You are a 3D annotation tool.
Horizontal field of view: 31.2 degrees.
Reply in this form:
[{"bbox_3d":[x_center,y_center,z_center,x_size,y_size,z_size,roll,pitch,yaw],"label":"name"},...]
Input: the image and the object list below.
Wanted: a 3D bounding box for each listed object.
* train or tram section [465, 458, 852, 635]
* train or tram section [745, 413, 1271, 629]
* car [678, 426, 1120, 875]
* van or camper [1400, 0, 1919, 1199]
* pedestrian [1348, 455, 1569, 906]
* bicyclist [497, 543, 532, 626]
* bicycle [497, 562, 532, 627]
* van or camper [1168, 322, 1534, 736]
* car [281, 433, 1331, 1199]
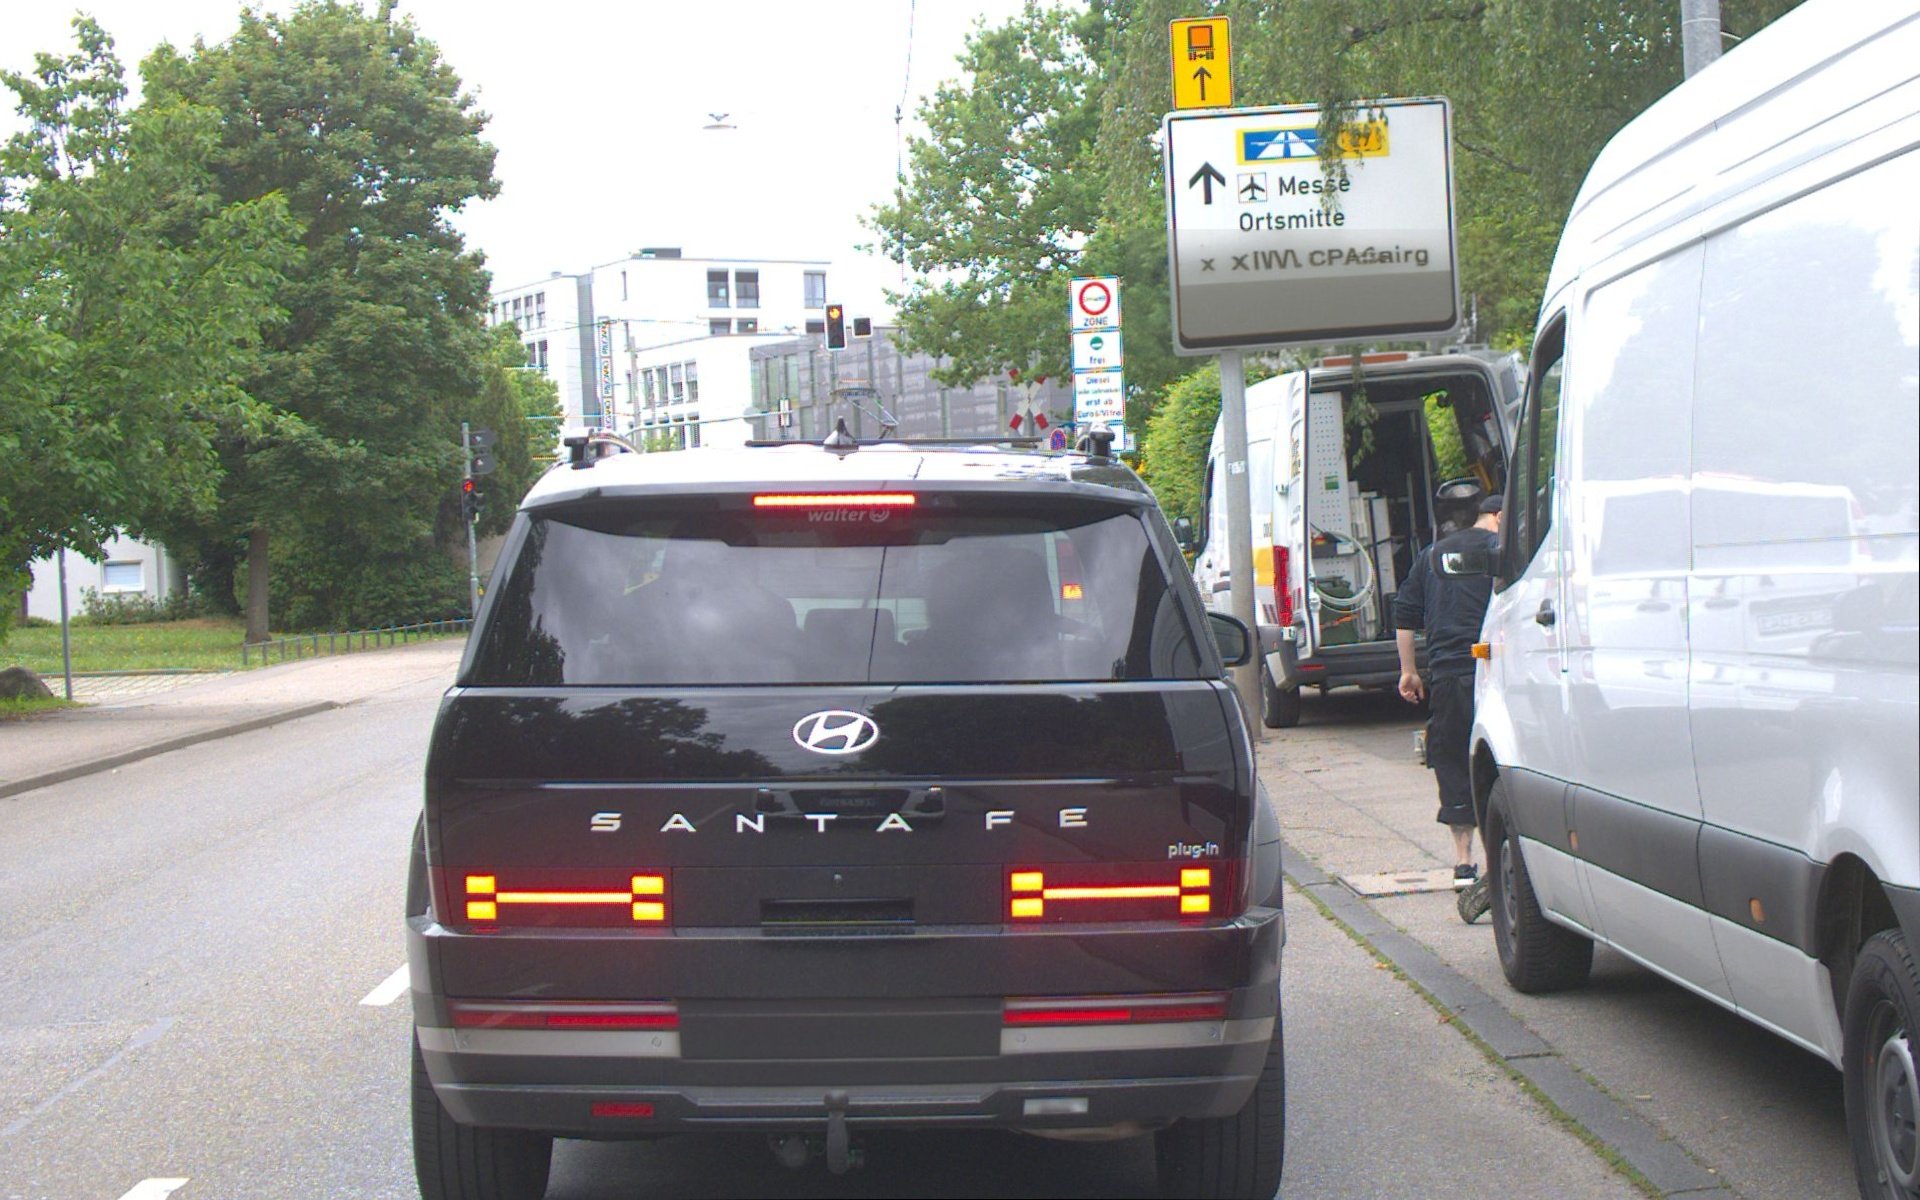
[{"bbox_3d":[-9.118,-1.336,99.240,3.193,4.507,18.683,0,-1,-31],"label":"train or tram section"},{"bbox_3d":[0.615,-1.654,83.212,3.193,4.507,18.683,0,-1,-31],"label":"train or tram section"},{"bbox_3d":[-0.322,0.194,17.532,1.963,1.994,4.000,-1,1,-1],"label":"car"},{"bbox_3d":[2.584,-0.066,8.048,1.963,2.619,6.359,-4,1,-1],"label":"van or camper"},{"bbox_3d":[1.983,0.306,13.661,0.604,1.737,0.618,-1,1,36],"label":"pedestrian"},{"bbox_3d":[-9.063,-0.310,69.917,0.675,1.653,0.858,-1,-1,-7],"label":"bicyclist"},{"bbox_3d":[-9.063,-0.109,69.884,0.675,1.275,2.501,-1,-1,-7],"label":"bicycle"},{"bbox_3d":[2.918,-0.547,26.873,1.963,2.787,5.287,-4,1,-1],"label":"van or camper"},{"bbox_3d":[-0.334,0.518,8.507,1.963,1.705,4.000,-1,1,-1],"label":"car"}]
